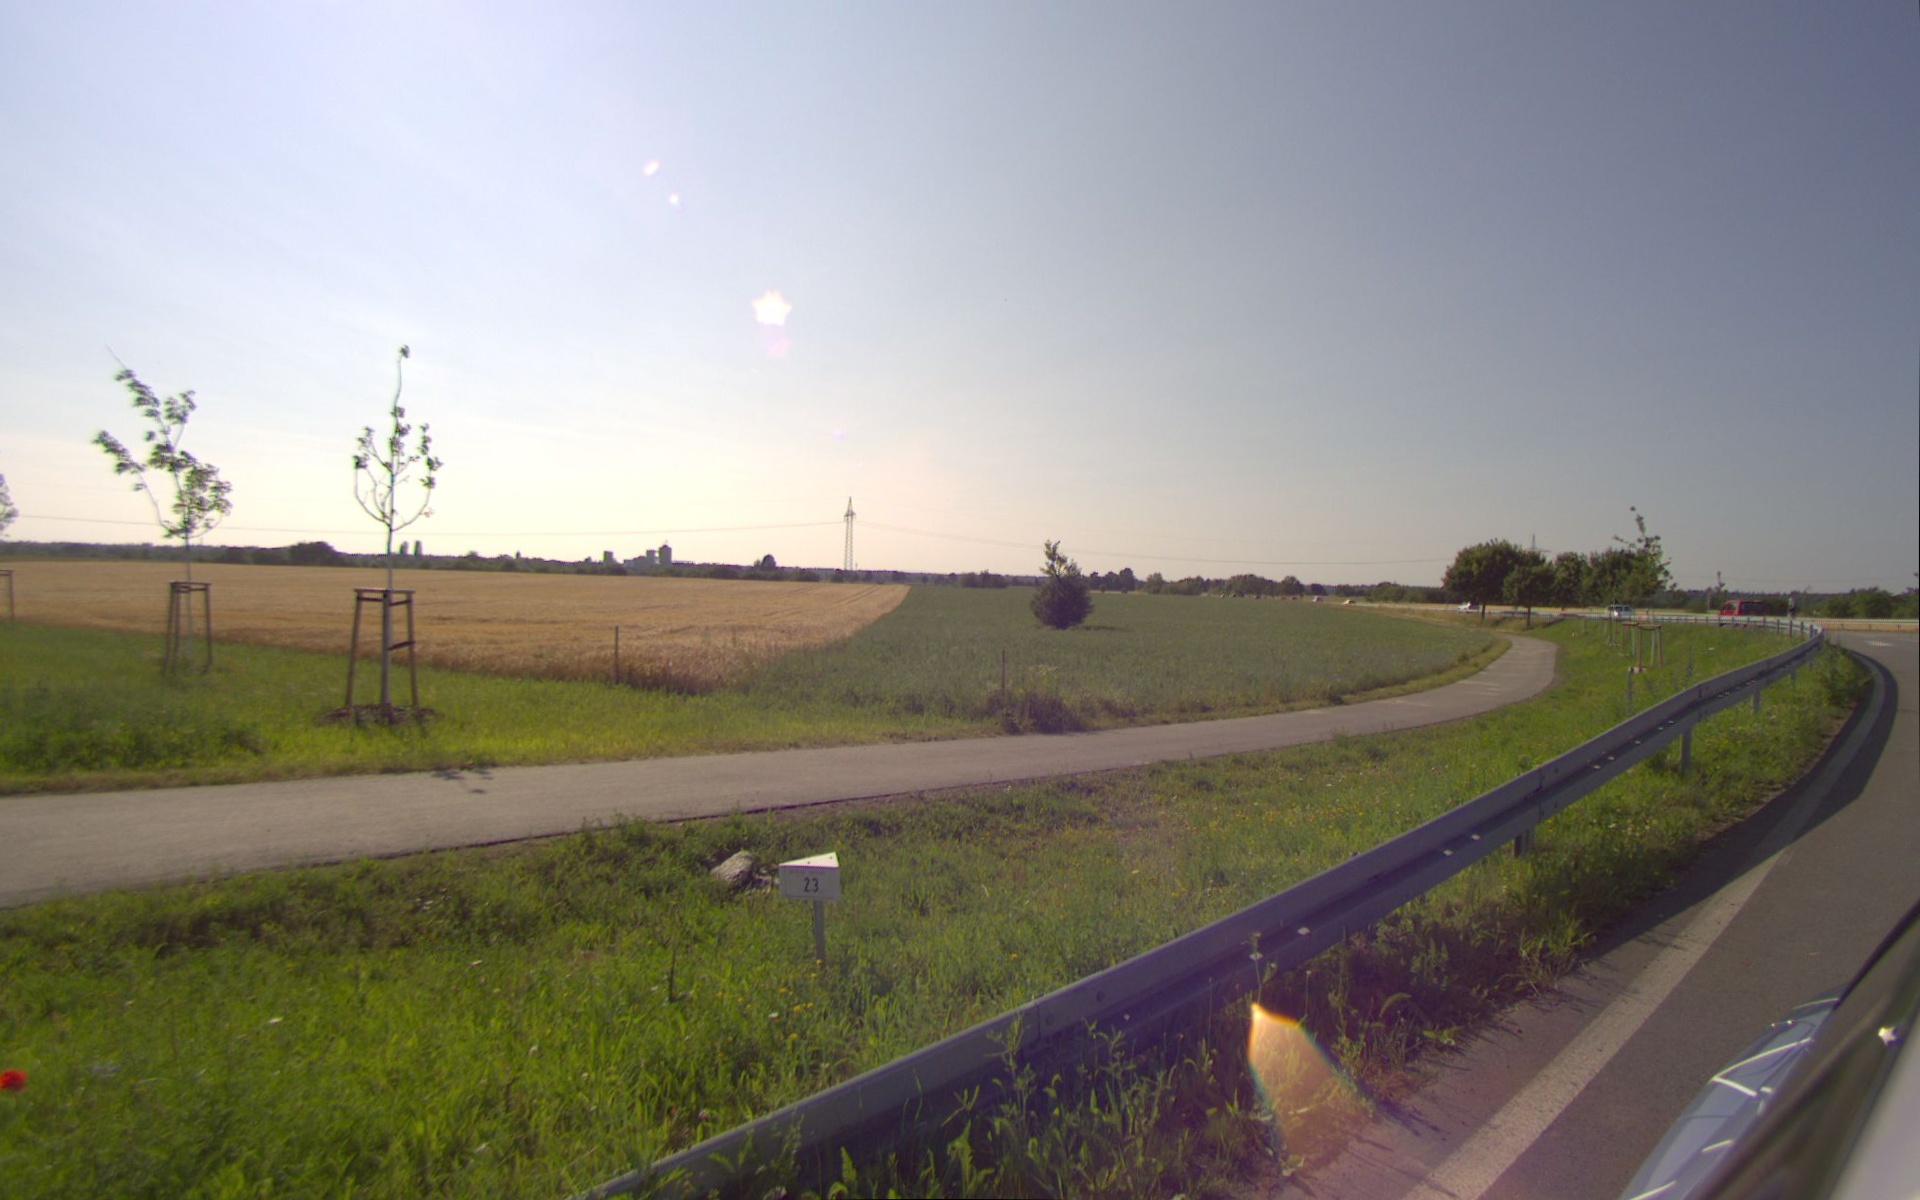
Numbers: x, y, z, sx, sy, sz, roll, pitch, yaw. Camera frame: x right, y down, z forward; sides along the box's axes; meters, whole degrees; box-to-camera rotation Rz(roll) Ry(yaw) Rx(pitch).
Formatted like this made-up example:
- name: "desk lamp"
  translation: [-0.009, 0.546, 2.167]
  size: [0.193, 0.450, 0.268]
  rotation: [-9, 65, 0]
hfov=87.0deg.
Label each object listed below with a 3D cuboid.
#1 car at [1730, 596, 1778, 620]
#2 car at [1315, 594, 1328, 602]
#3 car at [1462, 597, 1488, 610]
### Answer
- name: "car"
  translation: [58.997, 0.598, 75.283]
  size: [1.794, 1.694, 3.970]
  rotation: [0, 0, 23]
- name: "car"
  translation: [87.737, -0.492, 245.829]
  size: [1.965, 1.779, 3.993]
  rotation: [1, 0, 6]
- name: "car"
  translation: [75.348, 0.505, 148.153]
  size: [1.965, 1.779, 3.993]
  rotation: [1, 0, 6]
